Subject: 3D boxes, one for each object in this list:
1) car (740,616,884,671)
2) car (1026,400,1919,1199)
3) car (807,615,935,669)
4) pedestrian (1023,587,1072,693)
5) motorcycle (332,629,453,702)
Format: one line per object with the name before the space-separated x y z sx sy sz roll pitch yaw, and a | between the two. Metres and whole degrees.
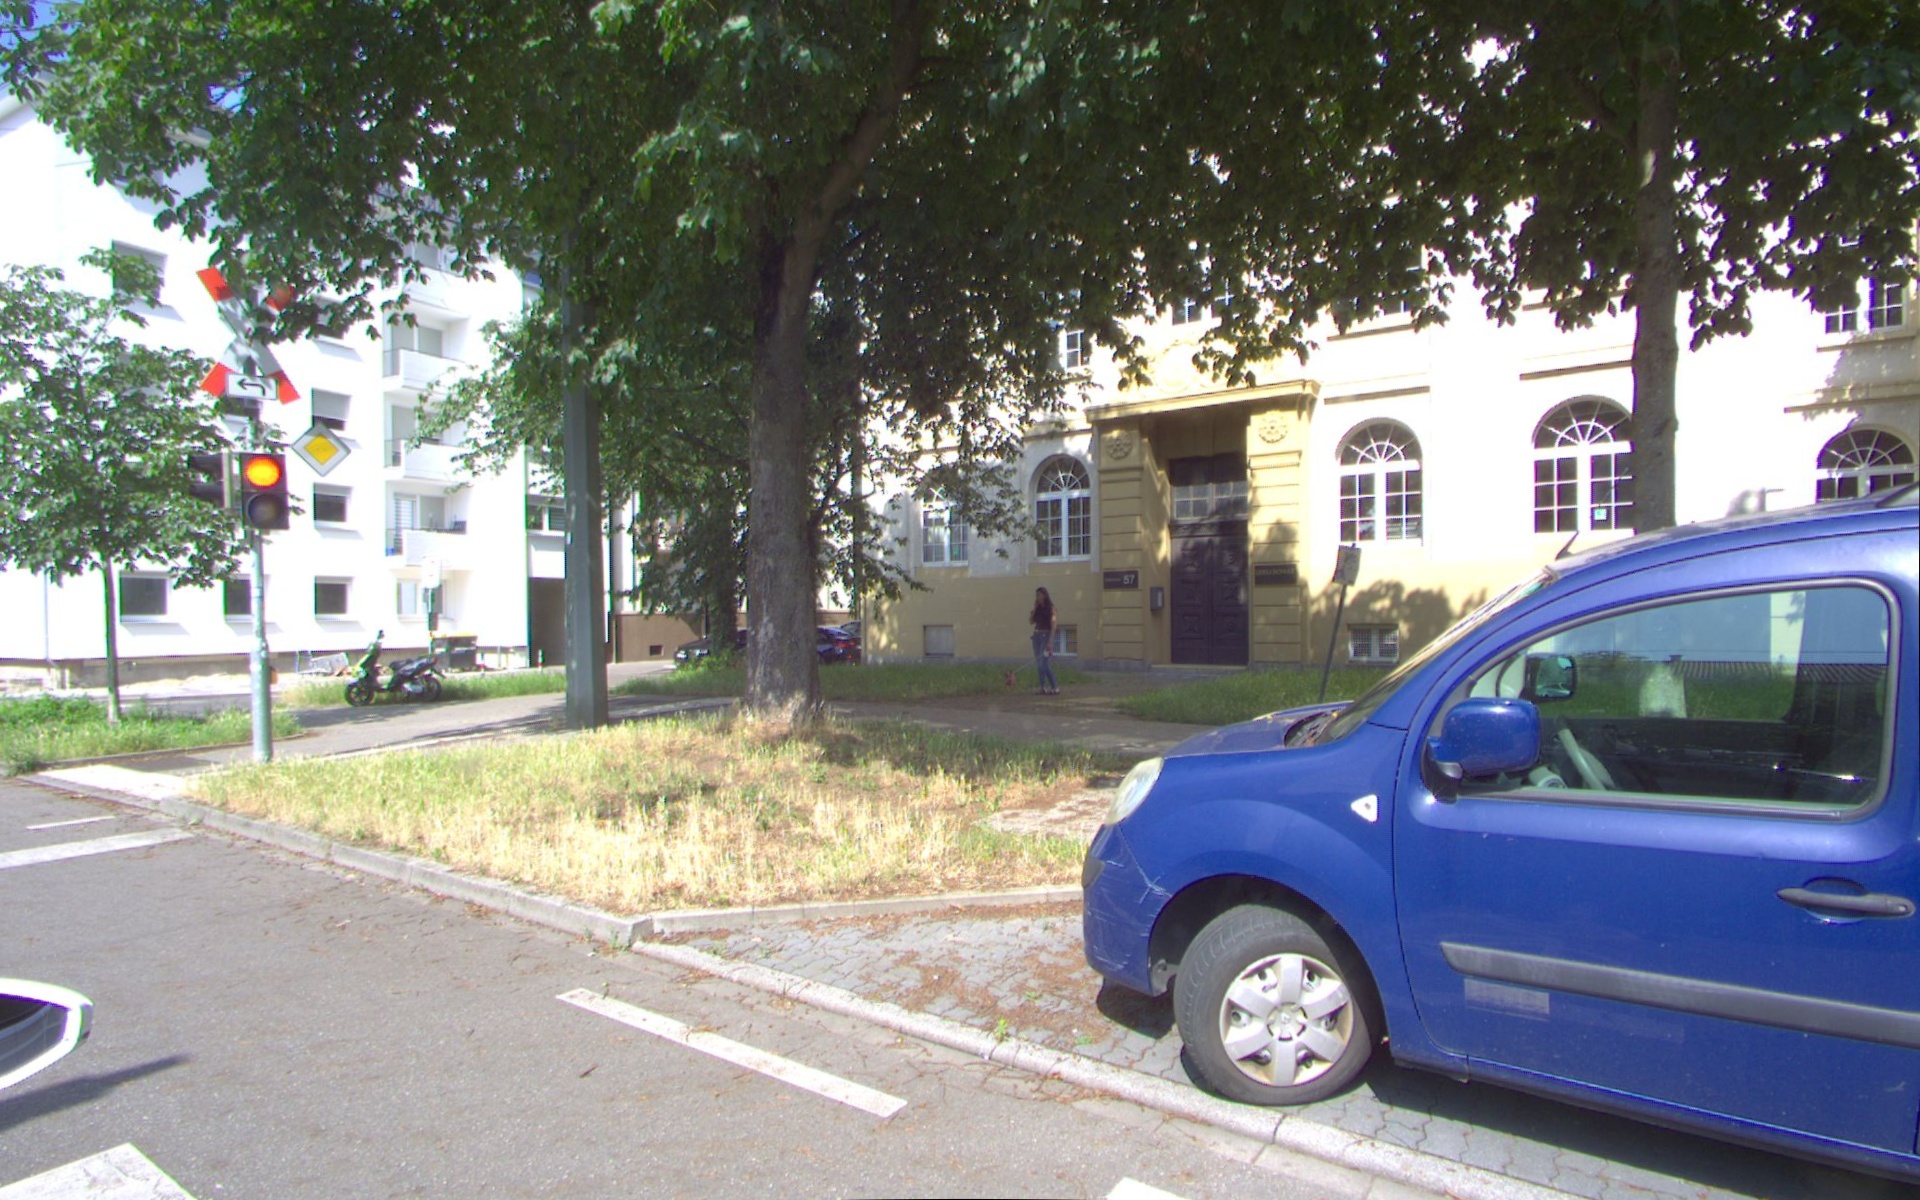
car | -4.294 1.205 28.946 3.942 1.478 1.736 -1 0 32
car | 2.417 0.542 2.845 4.128 1.921 1.816 0 1 36
car | -2.819 1.273 31.340 3.955 1.560 1.797 -1 0 42
pedestrian | 1.370 0.620 15.630 0.532 1.617 0.630 -1 0 31
motorcycle | -10.389 1.191 18.364 1.811 1.233 0.571 -2 4 0
